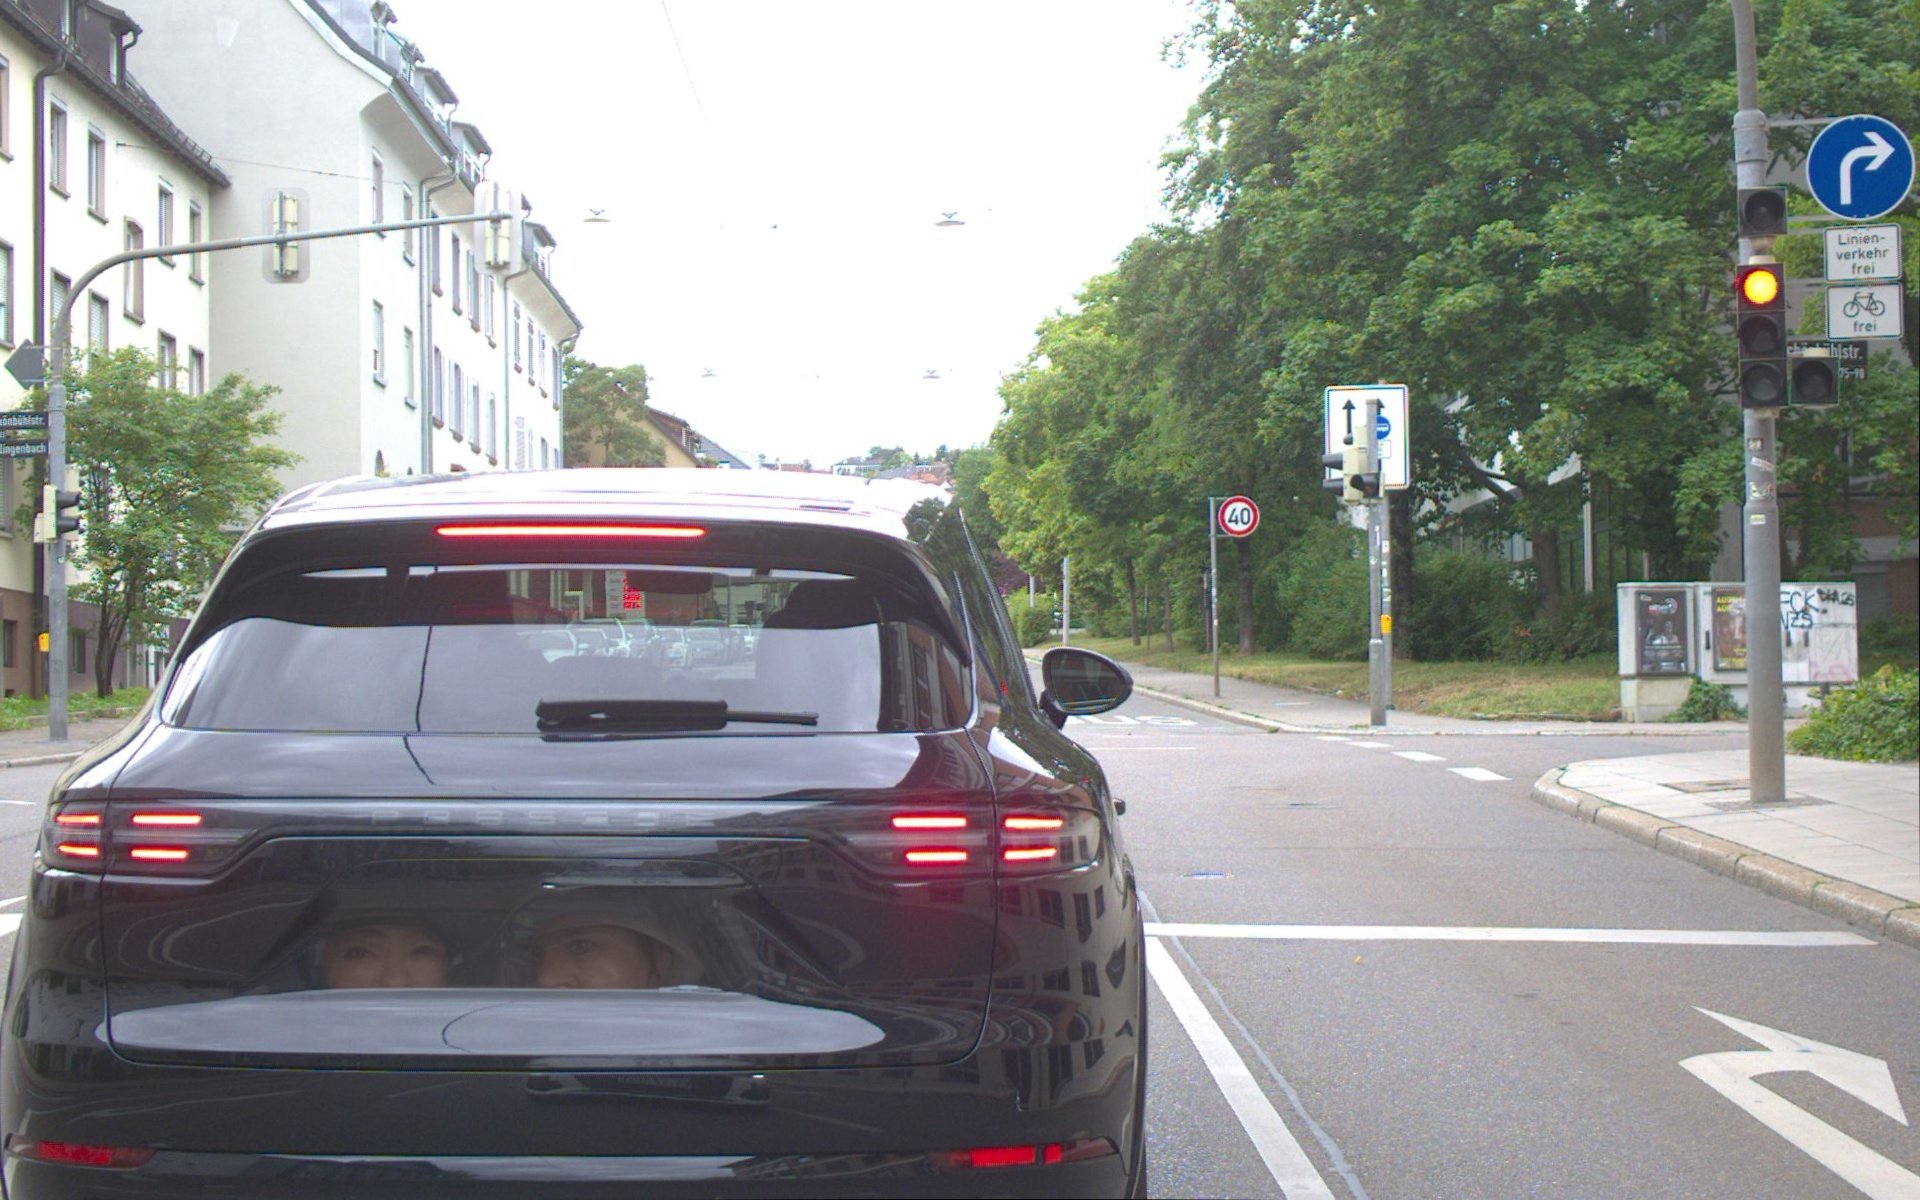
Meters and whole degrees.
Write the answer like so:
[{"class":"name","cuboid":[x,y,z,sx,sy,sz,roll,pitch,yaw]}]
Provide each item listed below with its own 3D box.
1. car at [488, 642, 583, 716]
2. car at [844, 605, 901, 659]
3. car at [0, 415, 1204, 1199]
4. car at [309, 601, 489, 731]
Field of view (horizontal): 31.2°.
[{"class":"car","cuboid":[-8.583,1.581,69.713,1.669,1.357,4.001,0,1,-3]},{"class":"car","cuboid":[-2.711,0.967,105.963,1.688,1.547,3.889,1,1,-2]},{"class":"car","cuboid":[-0.664,0.559,7.151,1.993,1.691,4.000,1,1,-1]},{"class":"car","cuboid":[-7.391,0.842,45.593,1.664,1.514,3.740,-4,0,0]}]
